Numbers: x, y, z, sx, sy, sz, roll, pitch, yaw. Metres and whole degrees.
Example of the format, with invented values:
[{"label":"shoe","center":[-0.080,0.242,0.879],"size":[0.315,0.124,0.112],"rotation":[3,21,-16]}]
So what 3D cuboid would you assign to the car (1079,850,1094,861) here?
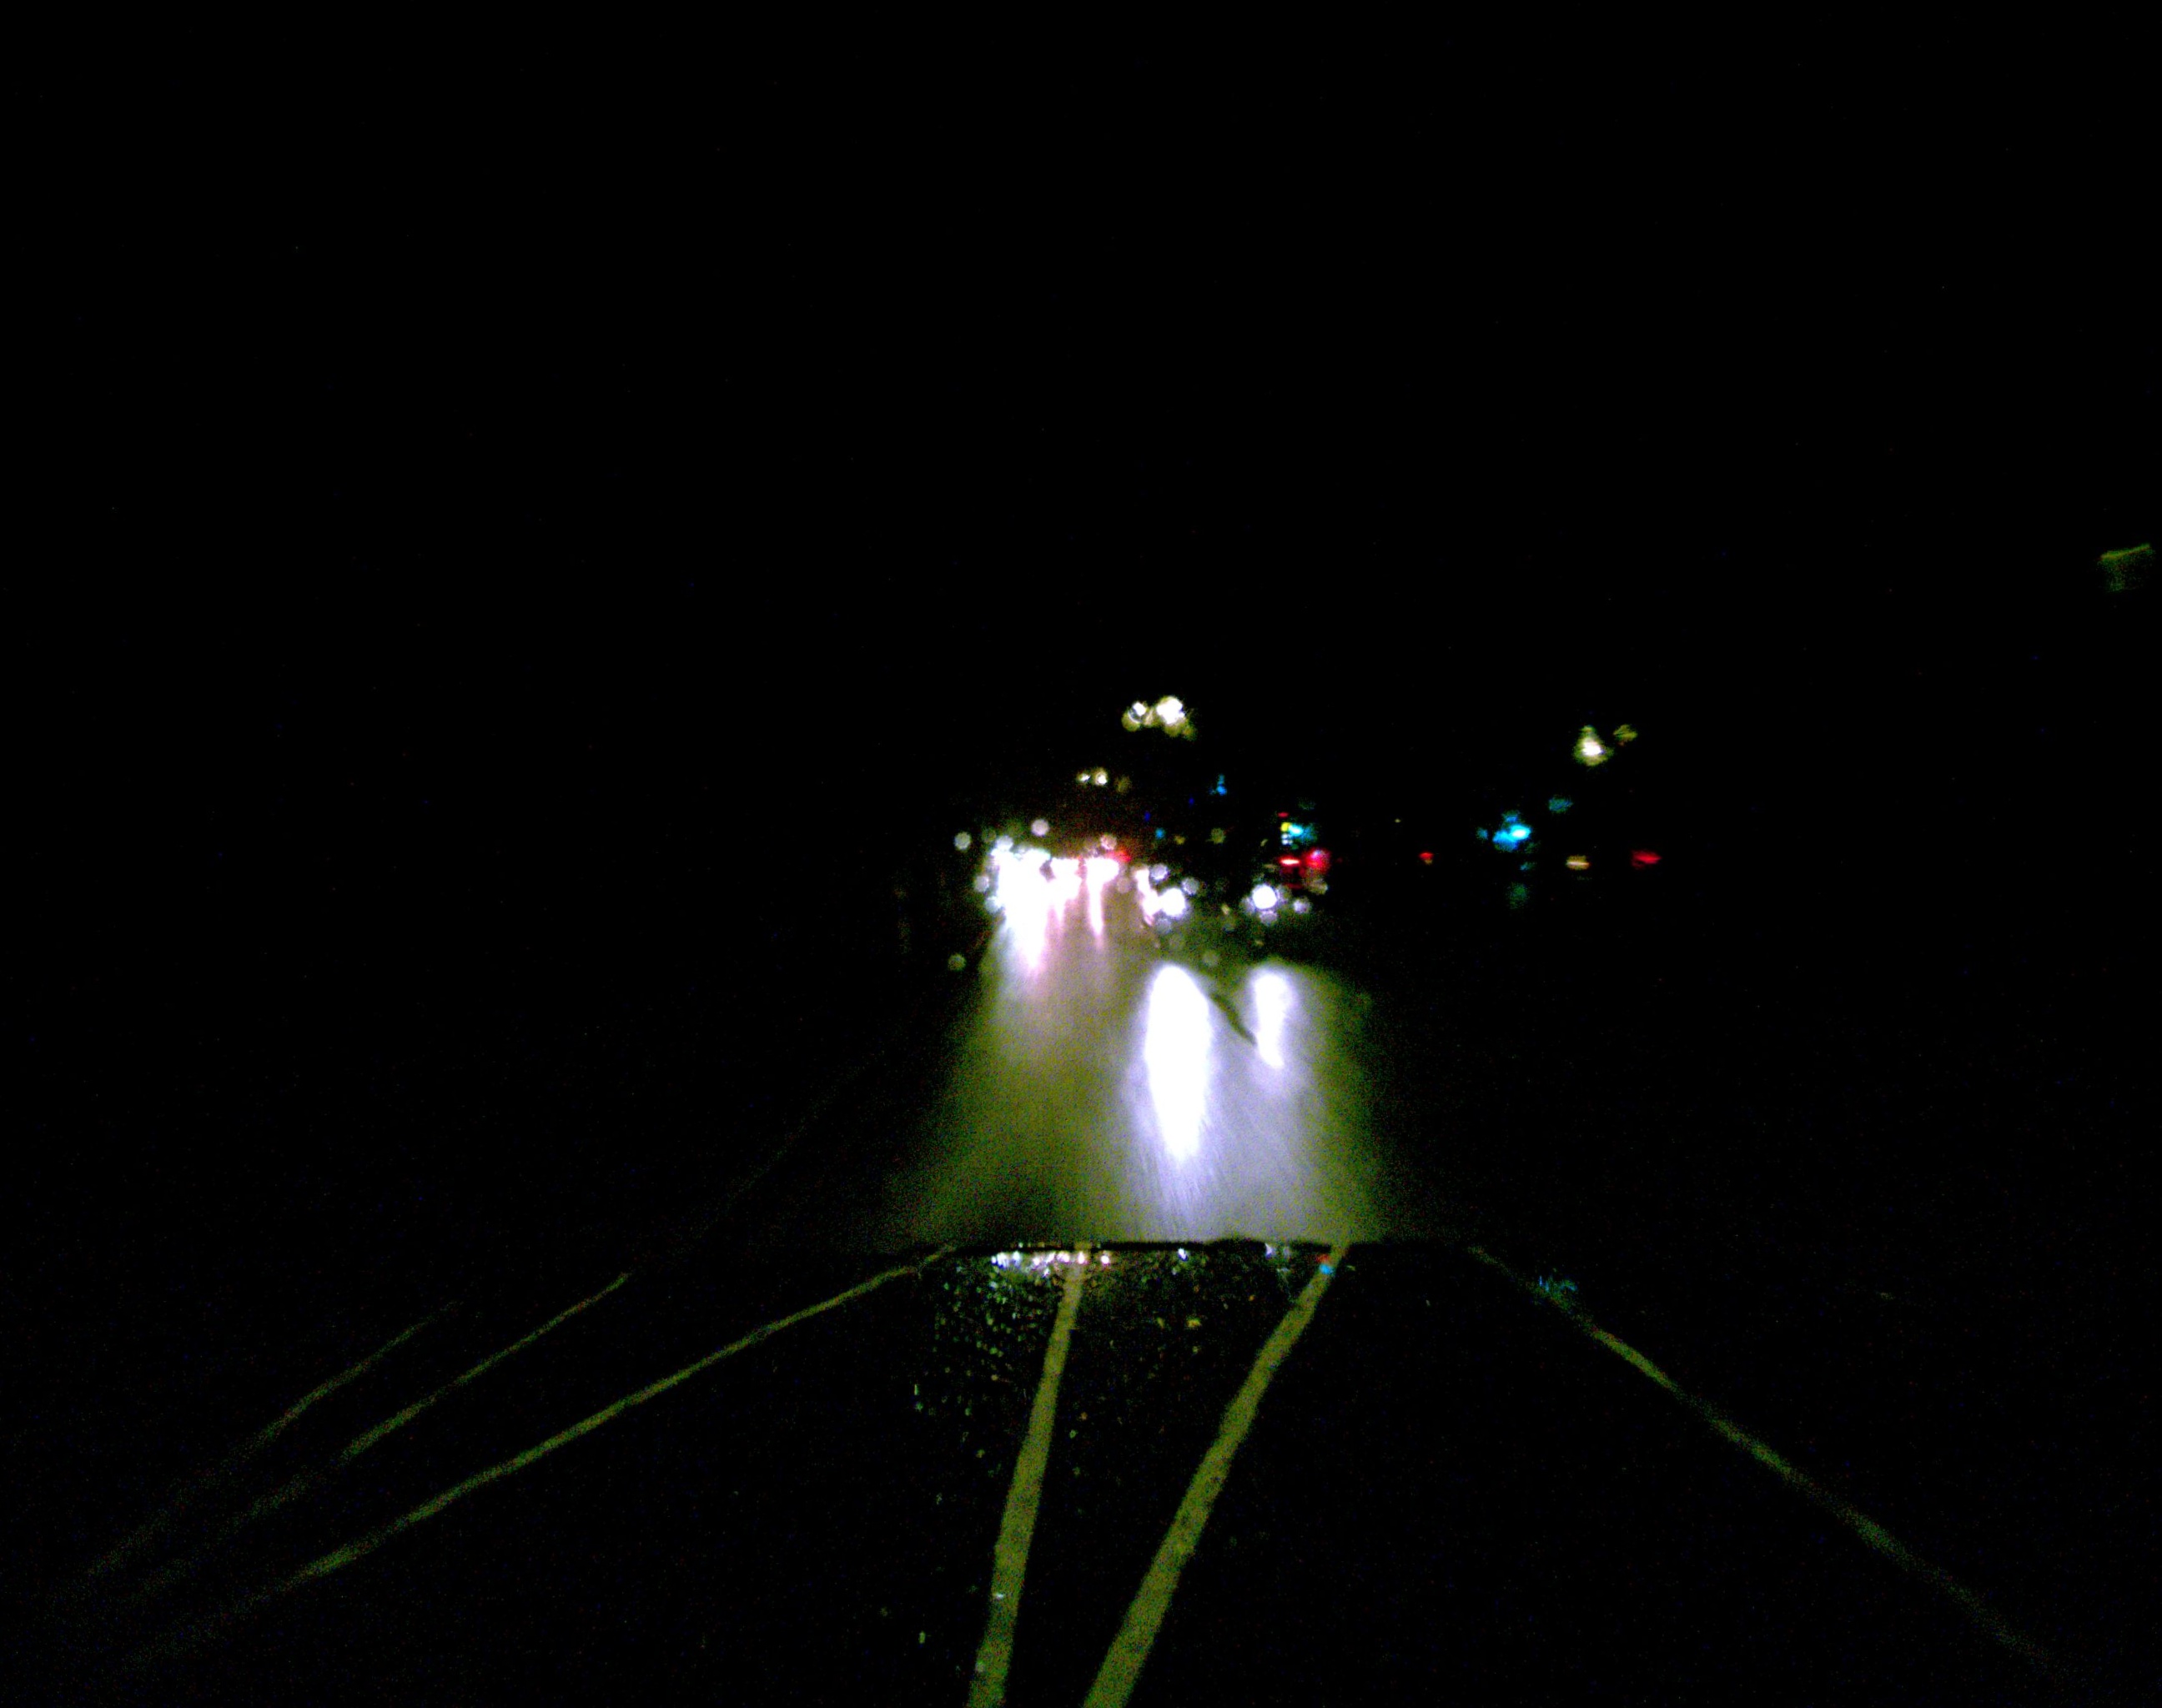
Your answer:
[{"label":"car","center":[0.782,0.196,119.077],"size":[1.797,1.562,4.910],"rotation":[-1,1,-6]}]

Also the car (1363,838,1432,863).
[{"label":"car","center":[25.816,-0.320,62.019],"size":[4.910,1.929,2.003],"rotation":[0,2,32]}]

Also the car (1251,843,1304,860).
[{"label":"car","center":[17.779,-0.235,68.762],"size":[4.124,1.441,2.185],"rotation":[1,3,41]}]

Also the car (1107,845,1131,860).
[{"label":"car","center":[4.091,-0.207,82.663],"size":[1.704,1.562,4.707],"rotation":[-1,1,-9]}]

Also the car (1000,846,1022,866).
[{"label":"car","center":[-7.349,0.214,79.372],"size":[2.000,2.002,3.997],"rotation":[-1,1,-8]}]

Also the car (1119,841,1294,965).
[{"label":"car","center":[1.883,0.644,13.057],"size":[1.915,1.694,4.936],"rotation":[-1,1,-3]}]

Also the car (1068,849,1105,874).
[{"label":"car","center":[0.311,0.445,48.980],"size":[1.999,1.456,3.996],"rotation":[-1,2,-6]}]

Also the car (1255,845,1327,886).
[{"label":"car","center":[9.009,0.455,33.042],"size":[1.712,1.525,4.597],"rotation":[-1,2,-2]}]

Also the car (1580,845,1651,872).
[{"label":"car","center":[38.198,0.279,54.368],"size":[4.089,1.773,2.004],"rotation":[0,3,36]}]

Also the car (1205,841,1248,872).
[{"label":"car","center":[8.741,0.102,46.016],"size":[1.722,1.694,4.141],"rotation":[-1,2,-2]}]

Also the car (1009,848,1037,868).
[{"label":"car","center":[-4.838,0.325,63.126],"size":[2.000,1.456,3.996],"rotation":[-1,2,-8]}]

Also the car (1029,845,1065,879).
[{"label":"car","center":[-2.005,0.409,43.568],"size":[1.878,1.825,4.203],"rotation":[-1,1,-4]}]
